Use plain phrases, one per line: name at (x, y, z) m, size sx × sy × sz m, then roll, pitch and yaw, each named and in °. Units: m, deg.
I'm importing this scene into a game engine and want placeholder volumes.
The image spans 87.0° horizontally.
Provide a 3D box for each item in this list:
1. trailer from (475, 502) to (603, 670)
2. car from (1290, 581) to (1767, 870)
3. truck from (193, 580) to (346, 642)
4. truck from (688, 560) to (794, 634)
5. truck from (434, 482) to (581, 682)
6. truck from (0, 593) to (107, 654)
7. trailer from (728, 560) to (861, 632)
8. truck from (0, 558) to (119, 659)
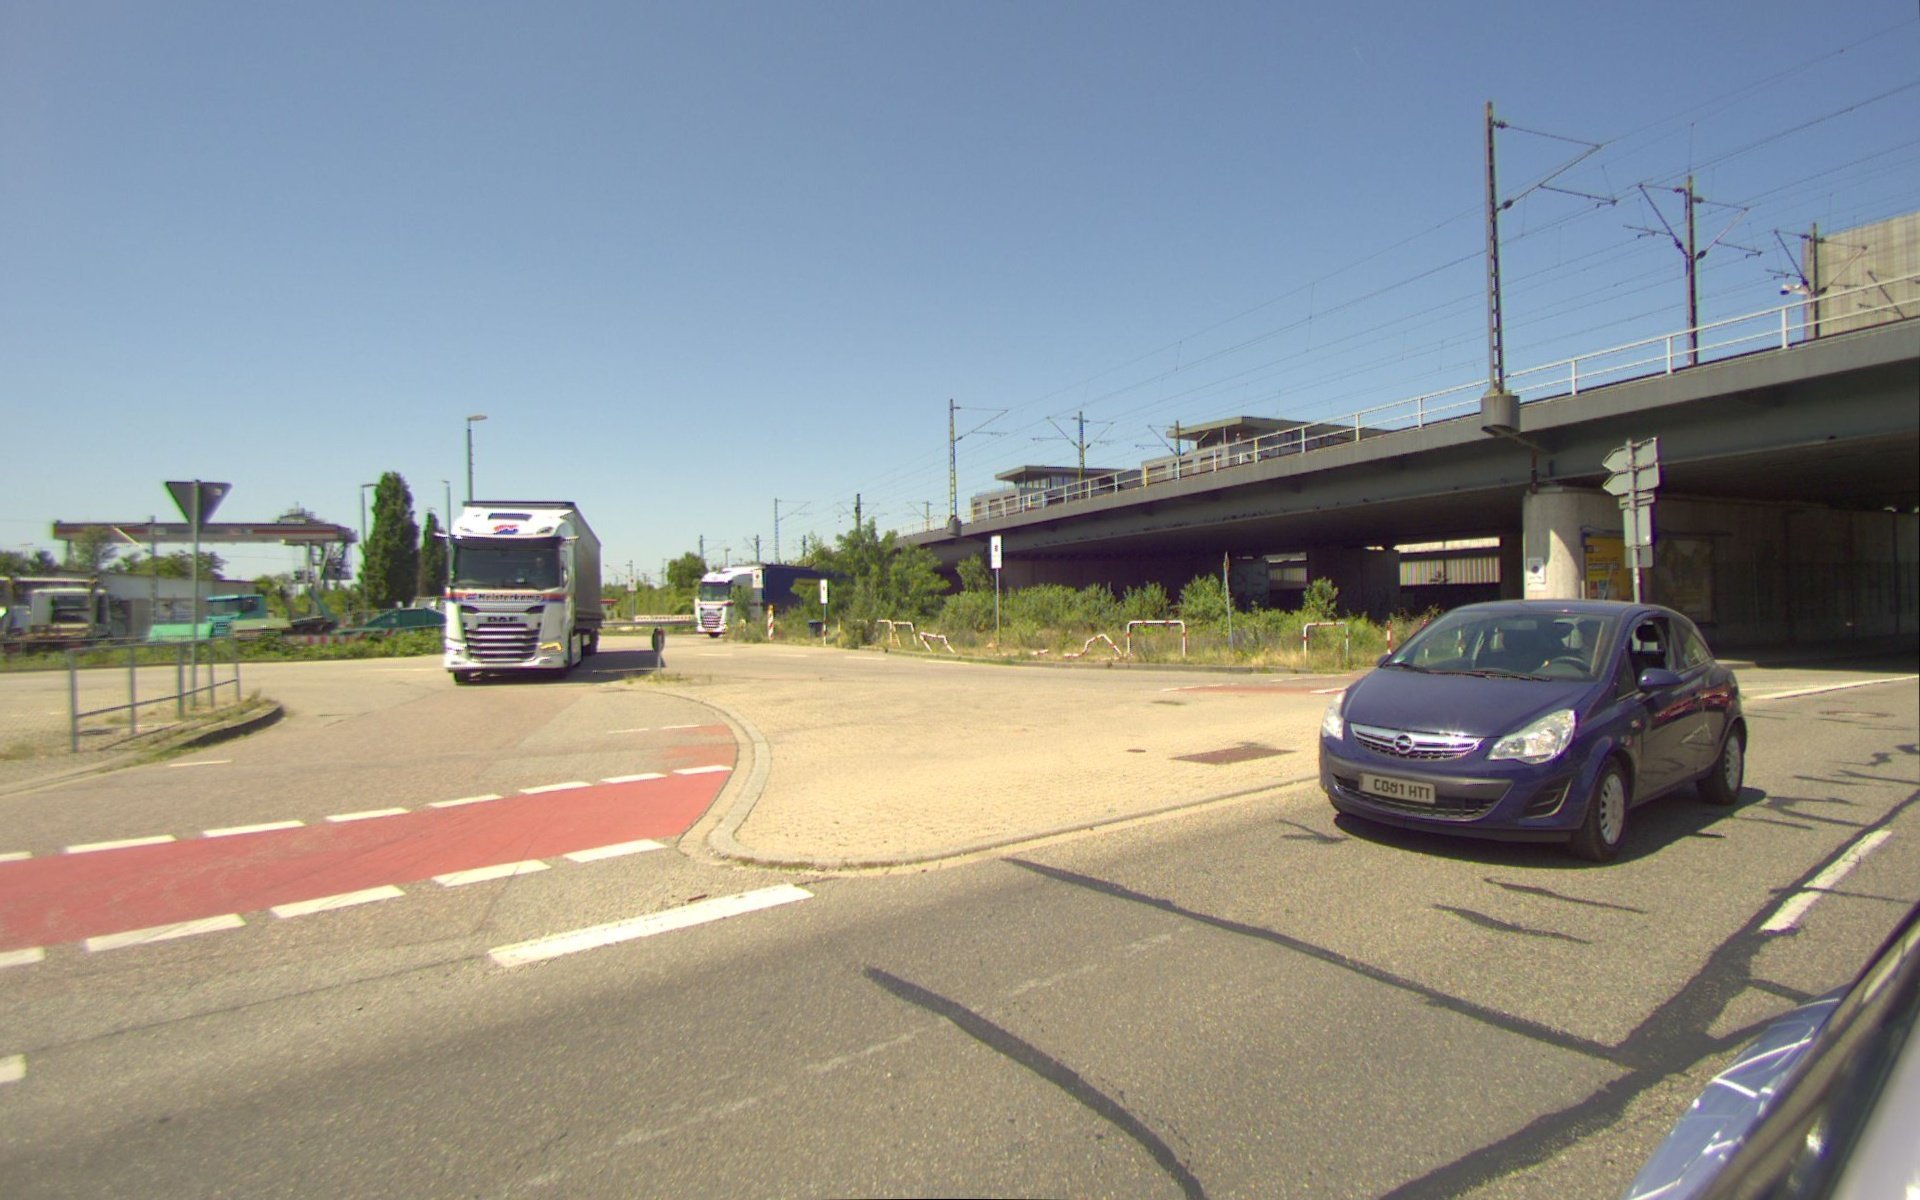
trailer at (-12.858, -0.299, 31.968) m, size 2.447 × 4.142 × 13.932 m, roll 0°, pitch 0°, yaw -17°
car at (4.067, 0.645, 6.994) m, size 3.822 × 1.462 × 1.649 m, roll 1°, pitch 0°, yaw -40°
truck at (-40.052, 0.560, 59.048) m, size 2.761 × 3.411 × 7.527 m, roll 0°, pitch 0°, yaw 13°
truck at (-12.612, -0.199, 58.762) m, size 2.571 × 4.089 × 6.141 m, roll 0°, pitch 0°, yaw 30°
truck at (-10.574, -0.414, 24.161) m, size 2.522 × 4.153 × 5.774 m, roll 0°, pitch 0°, yaw -17°
truck at (-45.925, 1.112, 49.434) m, size 2.615 × 2.825 × 6.077 m, roll 0°, pitch 0°, yaw 17°
trailer at (-10.076, -0.287, 63.182) m, size 2.558 × 4.176 × 9.943 m, roll 0°, pitch 0°, yaw 29°
truck at (-33.594, 0.298, 37.826) m, size 2.670 × 3.424 × 7.402 m, roll 0°, pitch 0°, yaw -35°
